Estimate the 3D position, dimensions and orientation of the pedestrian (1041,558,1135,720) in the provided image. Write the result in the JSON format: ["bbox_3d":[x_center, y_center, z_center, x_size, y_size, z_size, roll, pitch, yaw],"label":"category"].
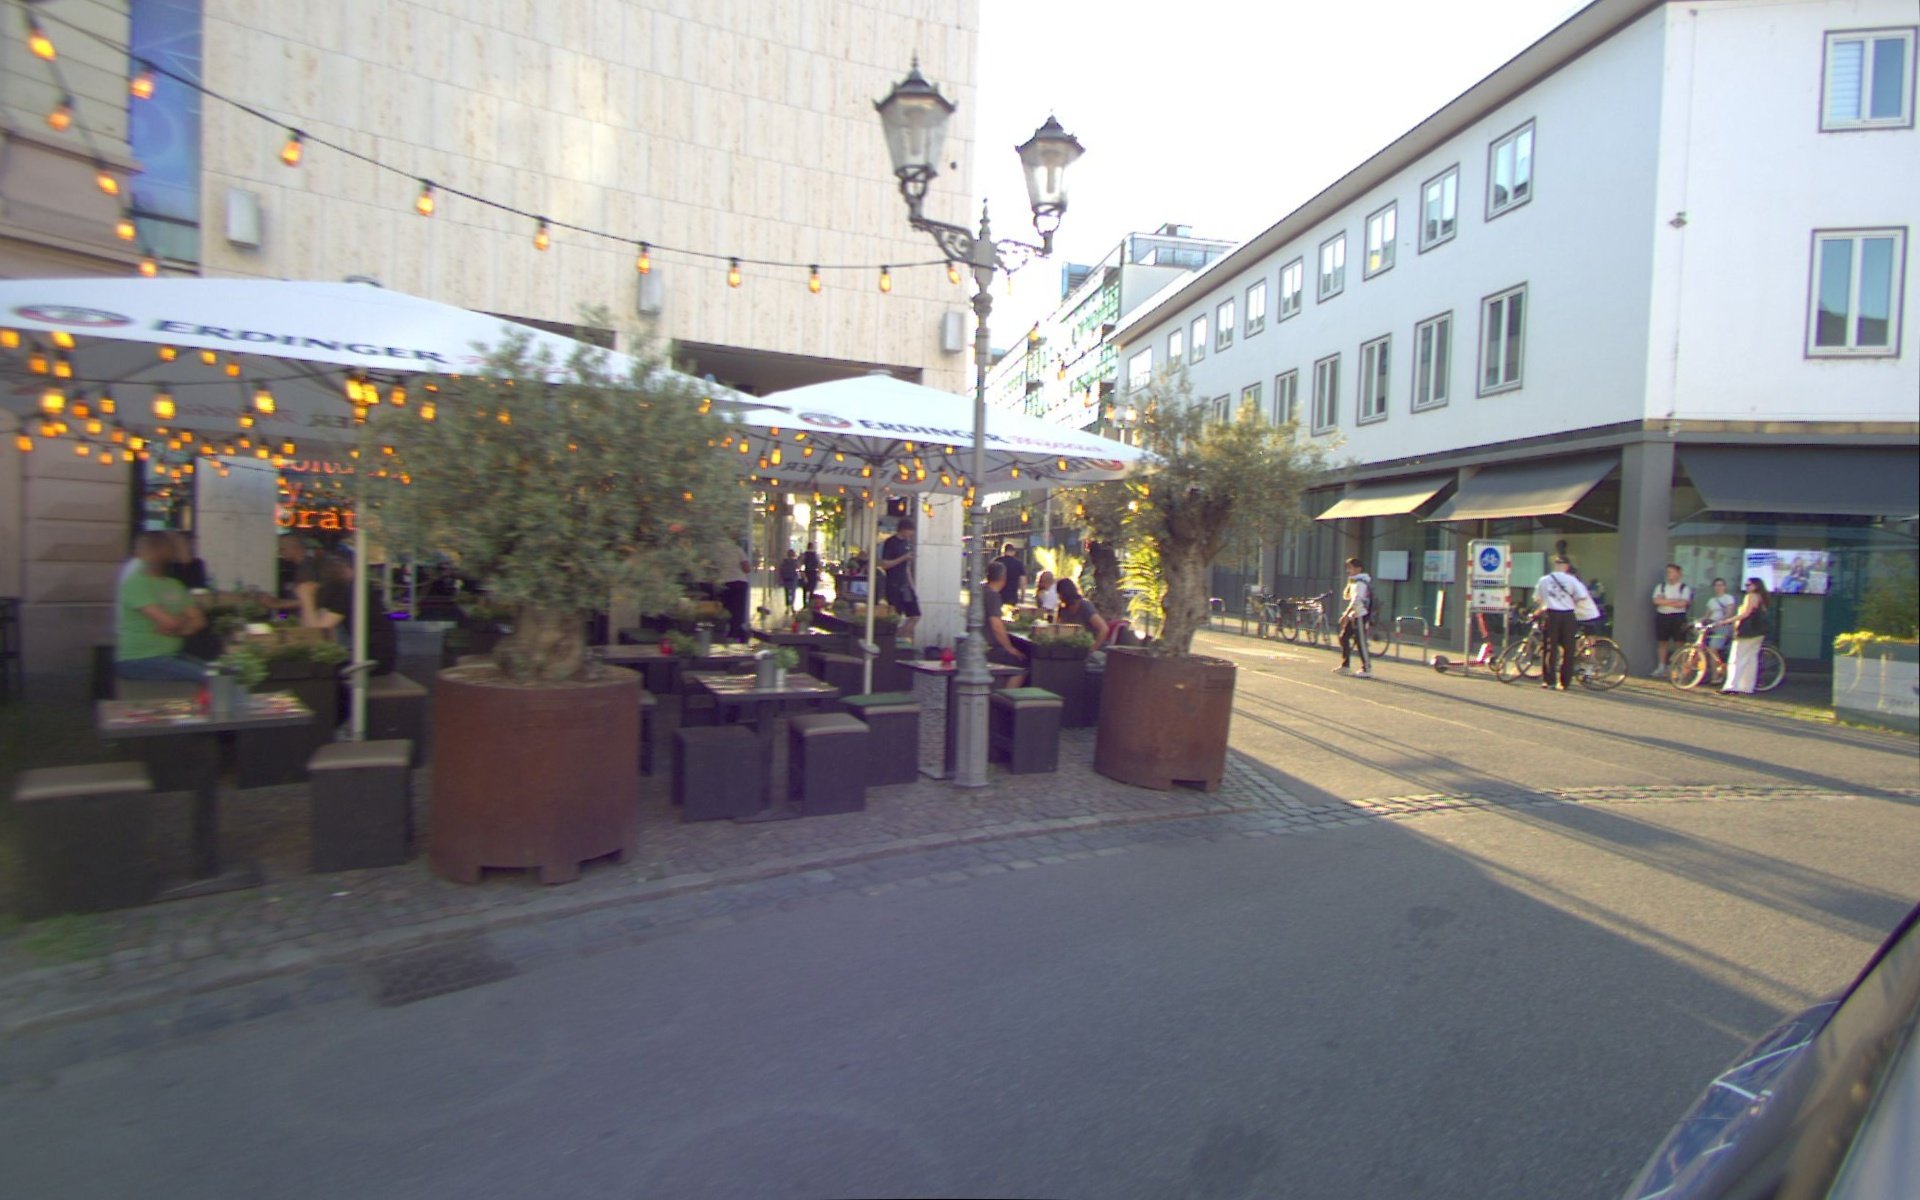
[{"bbox_3d":[1.201,0.349,9.616,0.679,1.465,0.725,2,2,-7],"label":"pedestrian"}]

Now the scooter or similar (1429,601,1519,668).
[{"bbox_3d":[8.407,0.559,16.568,1.182,1.023,0.487,2,2,0],"label":"scooter or similar"}]

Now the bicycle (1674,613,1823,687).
[{"bbox_3d":[11.311,0.710,14.548,1.648,0.945,0.473,2,2,6],"label":"bicycle"}]

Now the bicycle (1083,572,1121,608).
[{"bbox_3d":[5.318,-0.402,38.061,0.782,1.232,2.237,2,2,-8],"label":"bicycle"}]

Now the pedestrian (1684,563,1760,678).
[{"bbox_3d":[11.640,0.301,15.468,0.719,1.697,0.621,1,2,-30],"label":"pedestrian"}]

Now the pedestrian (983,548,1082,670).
[{"bbox_3d":[0.901,0.099,12.801,0.925,1.465,0.974,2,2,-16],"label":"pedestrian"}]

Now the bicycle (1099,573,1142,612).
[{"bbox_3d":[5.462,-0.281,34.565,0.782,1.232,2.237,2,2,-8],"label":"bicycle"}]

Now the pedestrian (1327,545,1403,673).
[{"bbox_3d":[5.870,0.105,14.712,0.923,1.762,0.915,3,2,21],"label":"pedestrian"}]

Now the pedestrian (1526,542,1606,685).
[{"bbox_3d":[8.538,0.177,14.280,0.615,1.952,0.646,2,2,-7],"label":"pedestrian"}]

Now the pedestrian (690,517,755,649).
[{"bbox_3d":[-3.303,-0.235,14.058,0.702,1.768,0.711,1,2,-25],"label":"pedestrian"}]

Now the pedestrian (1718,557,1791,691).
[{"bbox_3d":[11.217,0.323,14.286,0.704,1.840,0.510,1,2,-30],"label":"pedestrian"}]

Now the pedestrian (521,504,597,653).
[{"bbox_3d":[-5.077,-0.269,12.832,0.832,1.825,0.731,1,2,-22],"label":"pedestrian"}]

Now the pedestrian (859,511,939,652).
[{"bbox_3d":[-0.798,-0.251,13.171,0.704,1.768,0.709,1,2,-40],"label":"pedestrian"}]

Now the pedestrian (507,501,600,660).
[{"bbox_3d":[-4.886,-0.227,12.147,0.961,1.825,0.730,1,2,-24],"label":"pedestrian"}]

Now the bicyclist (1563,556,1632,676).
[{"bbox_3d":[9.649,0.236,15.328,0.818,1.764,0.483,1,2,-29],"label":"bicyclist"}]

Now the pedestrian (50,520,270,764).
[{"bbox_3d":[-5.113,0.249,6.521,0.848,1.465,0.725,2,2,-7],"label":"pedestrian"}]

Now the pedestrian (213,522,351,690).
[{"bbox_3d":[-6.203,0.050,9.303,0.835,1.465,0.777,2,2,-16],"label":"pedestrian"}]

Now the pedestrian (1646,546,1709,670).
[{"bbox_3d":[11.484,0.117,16.205,0.532,1.947,0.582,1,2,-29],"label":"pedestrian"}]

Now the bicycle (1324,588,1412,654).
[{"bbox_3d":[8.026,0.380,19.997,0.511,1.155,1.969,1,2,-13],"label":"bicycle"}]

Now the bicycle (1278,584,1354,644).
[{"bbox_3d":[7.650,0.284,21.841,0.511,1.155,1.969,1,2,-13],"label":"bicycle"}]

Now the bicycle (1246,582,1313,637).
[{"bbox_3d":[7.421,0.193,23.580,0.511,1.155,1.969,1,2,-13],"label":"bicycle"}]

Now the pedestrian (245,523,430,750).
[{"bbox_3d":[-4.254,0.229,6.972,0.848,1.465,0.725,2,2,-7],"label":"pedestrian"}]

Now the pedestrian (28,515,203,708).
[{"bbox_3d":[-6.767,0.080,8.161,0.834,1.465,0.777,1,2,-17],"label":"pedestrian"}]

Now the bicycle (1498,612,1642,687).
[{"bbox_3d":[8.597,0.687,14.292,1.648,0.945,0.473,2,2,6],"label":"bicycle"}]

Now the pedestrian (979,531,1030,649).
[{"bbox_3d":[0.697,-0.164,15.672,0.704,1.768,0.709,2,2,4],"label":"pedestrian"}]

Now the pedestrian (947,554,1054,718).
[{"bbox_3d":[0.365,0.312,9.526,0.848,1.465,0.725,2,2,-7],"label":"pedestrian"}]

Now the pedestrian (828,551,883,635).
[{"bbox_3d":[-1.766,-0.123,17.052,0.767,1.365,0.712,1,2,-17],"label":"pedestrian"}]

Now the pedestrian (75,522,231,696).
[{"bbox_3d":[-7.113,0.071,8.966,0.835,1.465,0.777,2,2,-16],"label":"pedestrian"}]

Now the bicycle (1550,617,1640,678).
[{"bbox_3d":[9.636,0.702,15.358,1.454,0.858,0.483,1,2,-29],"label":"bicycle"}]
